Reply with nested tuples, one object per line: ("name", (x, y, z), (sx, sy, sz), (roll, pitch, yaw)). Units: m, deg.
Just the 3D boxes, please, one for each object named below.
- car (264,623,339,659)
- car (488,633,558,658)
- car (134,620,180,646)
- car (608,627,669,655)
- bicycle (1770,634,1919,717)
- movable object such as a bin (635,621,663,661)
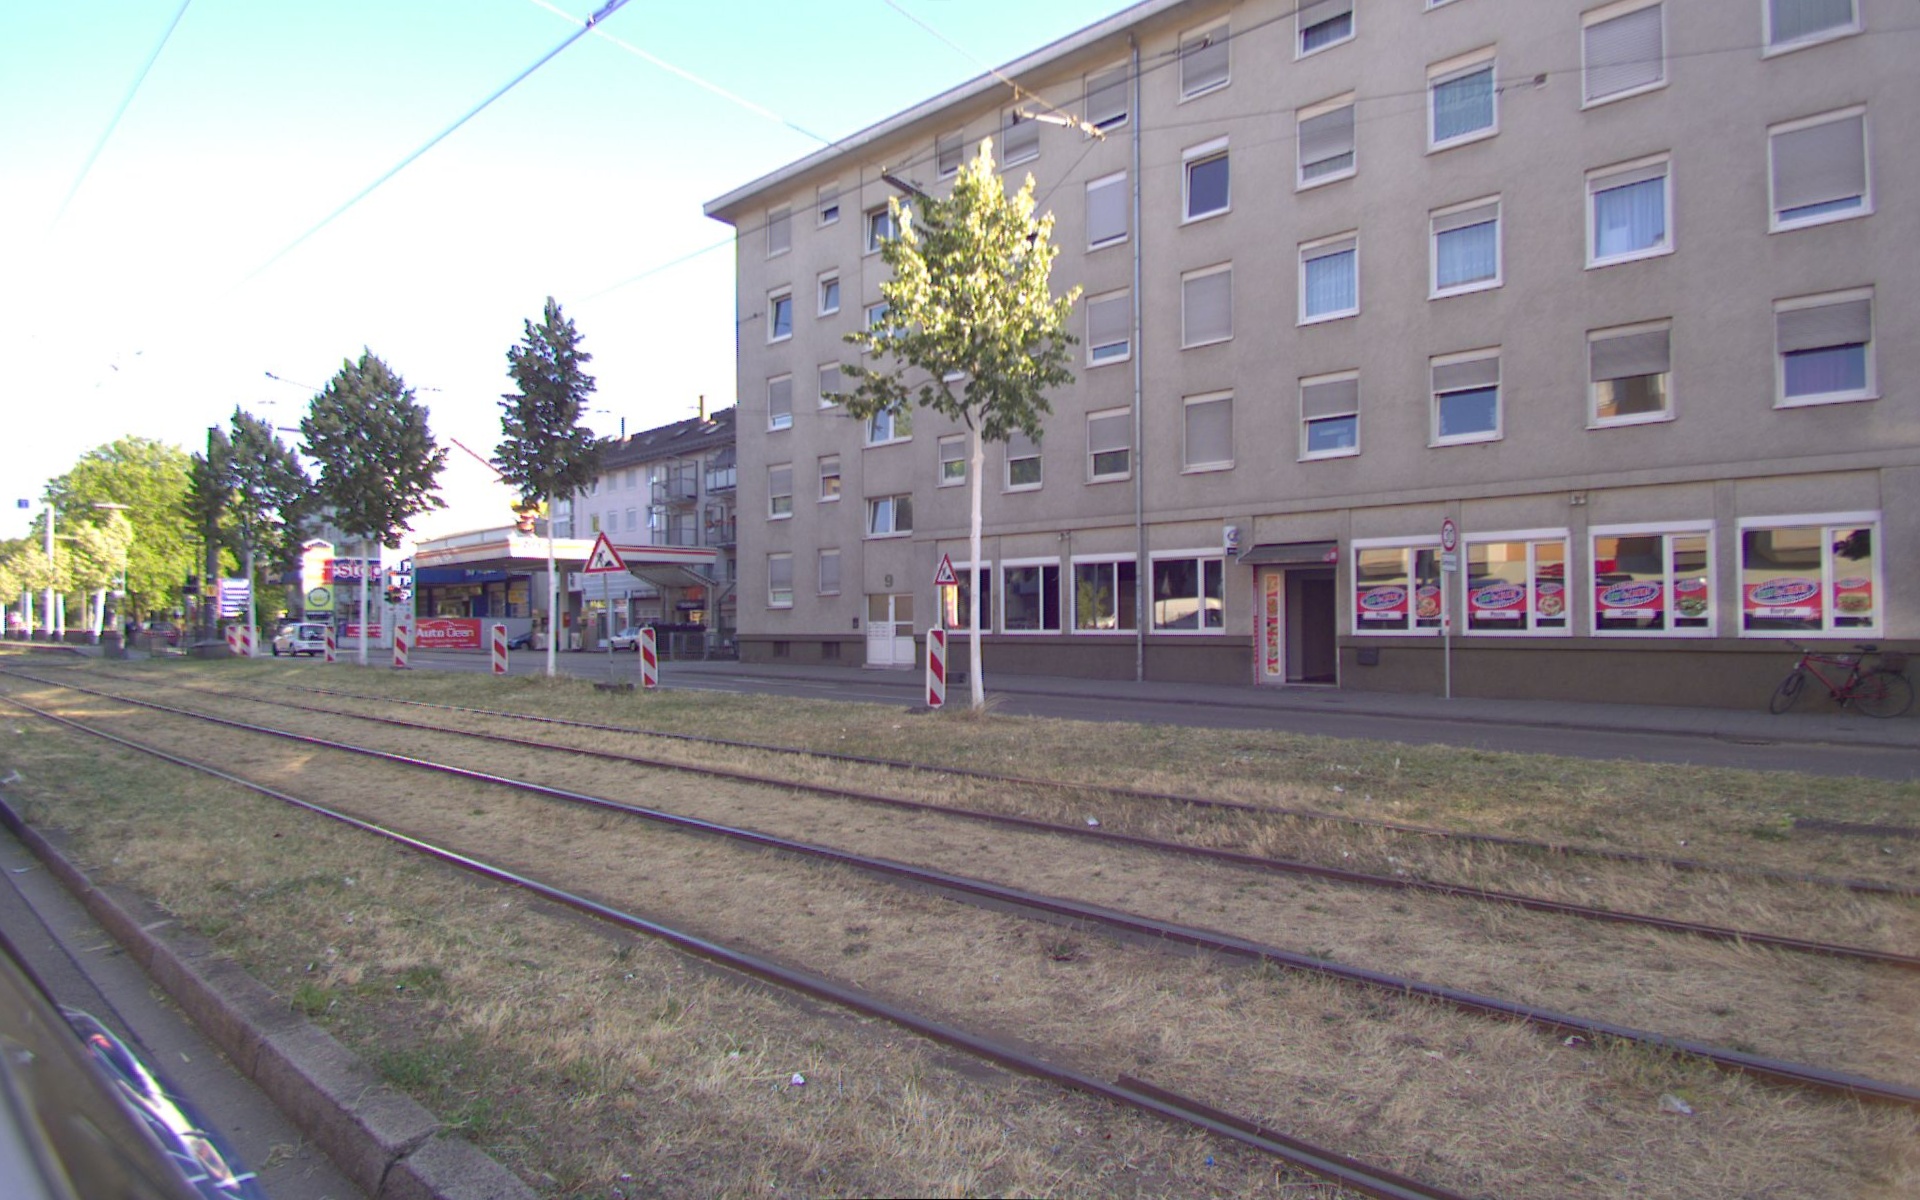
("car", (-29.406, 1.795, 45.138), (3.827, 1.523, 1.793), (-1, -2, 41))
("car", (-28.453, 2.925, 65.932), (1.818, 1.535, 3.752), (-2, -2, 43))
("car", (-52.148, 2.126, 65.712), (1.791, 1.572, 4.937), (1, -1, -45))
("car", (-18.933, 2.388, 59.599), (3.830, 1.535, 1.792), (-1, 1, 44))
("bicycle", (12.797, 1.050, 14.536), (1.777, 1.123, 0.739), (-2, -2, 41))
("movable object such as a bin", (-11.269, 1.477, 36.641), (0.748, 1.411, 0.656), (-2, -2, 39))
